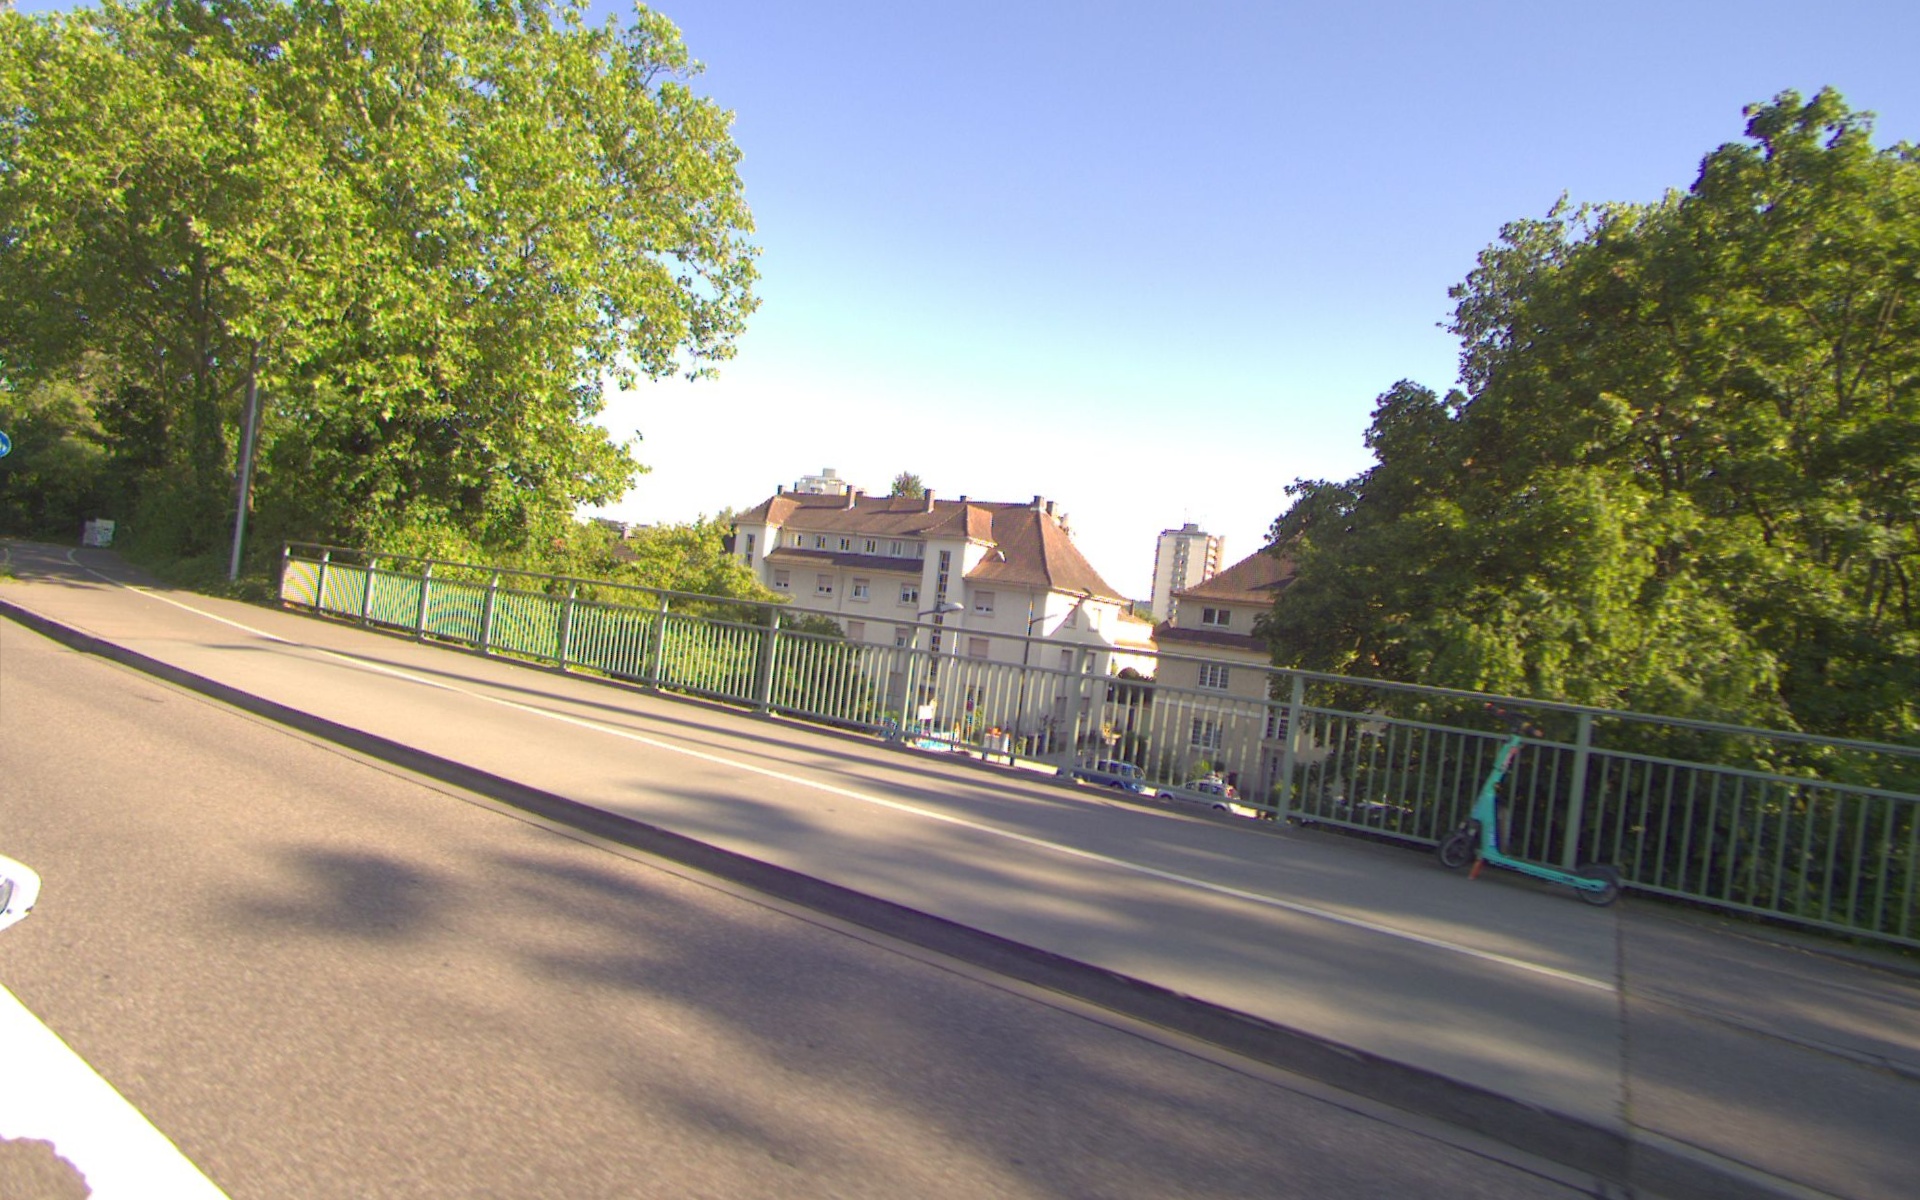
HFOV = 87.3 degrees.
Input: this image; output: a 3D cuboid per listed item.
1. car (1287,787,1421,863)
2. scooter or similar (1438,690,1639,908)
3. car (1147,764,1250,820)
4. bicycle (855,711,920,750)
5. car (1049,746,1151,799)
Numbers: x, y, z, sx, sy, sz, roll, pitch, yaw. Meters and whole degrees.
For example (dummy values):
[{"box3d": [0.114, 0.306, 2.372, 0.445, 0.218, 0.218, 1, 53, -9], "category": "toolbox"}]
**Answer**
[{"box3d": [16.366, 9.311, 41.878, 4.749, 2.046, 1.857, 7, -6, 32], "category": "car"}, {"box3d": [4.037, 1.348, 7.060, 1.065, 1.290, 0.427, 7, 0, 32], "category": "scooter or similar"}, {"box3d": [10.839, 8.739, 45.794, 4.001, 1.698, 1.857, 7, -6, 32], "category": "car"}, {"box3d": [-1.830, 3.267, 25.240, 1.577, 0.733, 0.431, 6, -4, 32], "category": "bicycle"}, {"box3d": [6.745, 8.294, 48.489, 4.309, 1.698, 1.857, 7, -6, 32], "category": "car"}]
